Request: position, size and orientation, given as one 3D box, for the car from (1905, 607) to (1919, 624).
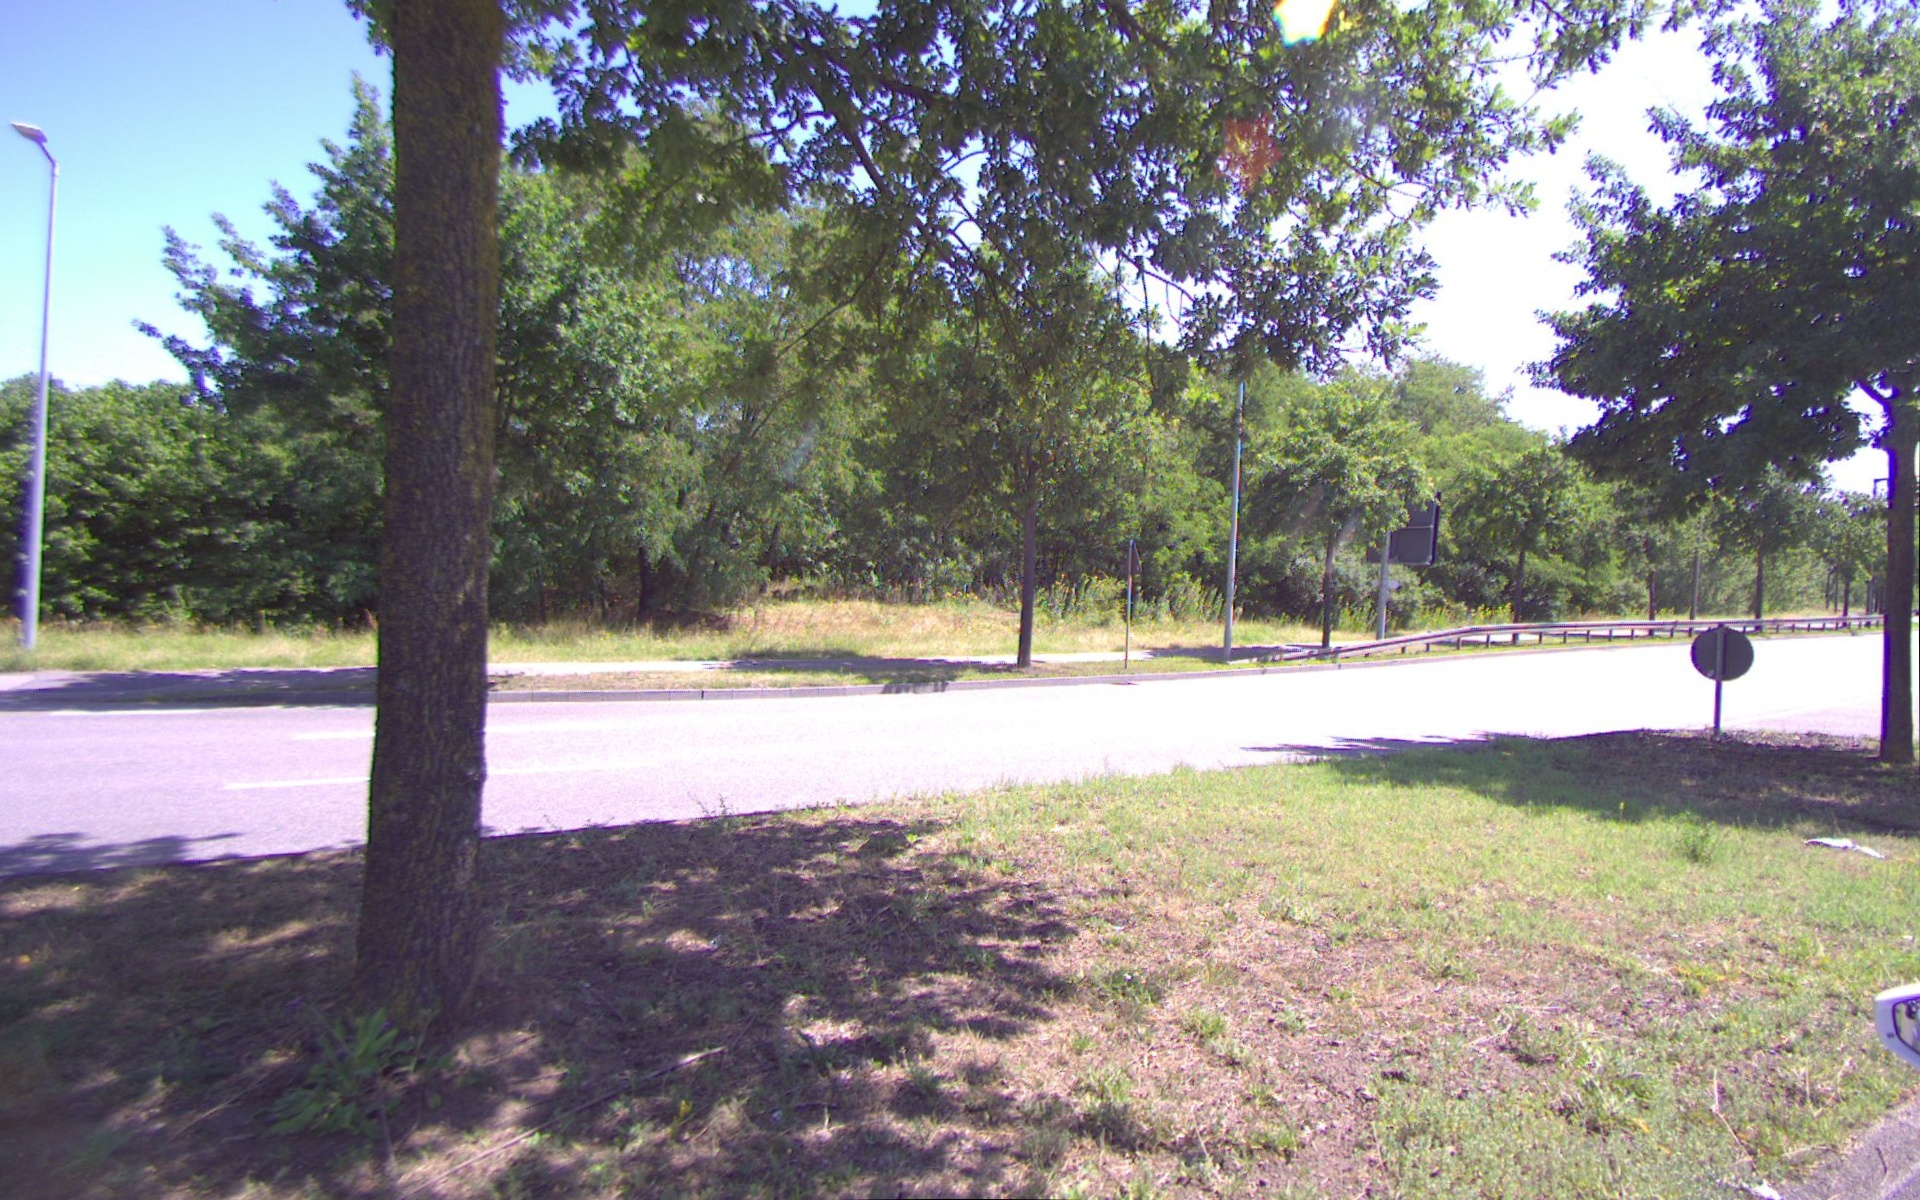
[{"bbox_3d":[104.846,1.687,110.144,3.729,1.694,1.662,-1,2,-45],"label":"car"}]
